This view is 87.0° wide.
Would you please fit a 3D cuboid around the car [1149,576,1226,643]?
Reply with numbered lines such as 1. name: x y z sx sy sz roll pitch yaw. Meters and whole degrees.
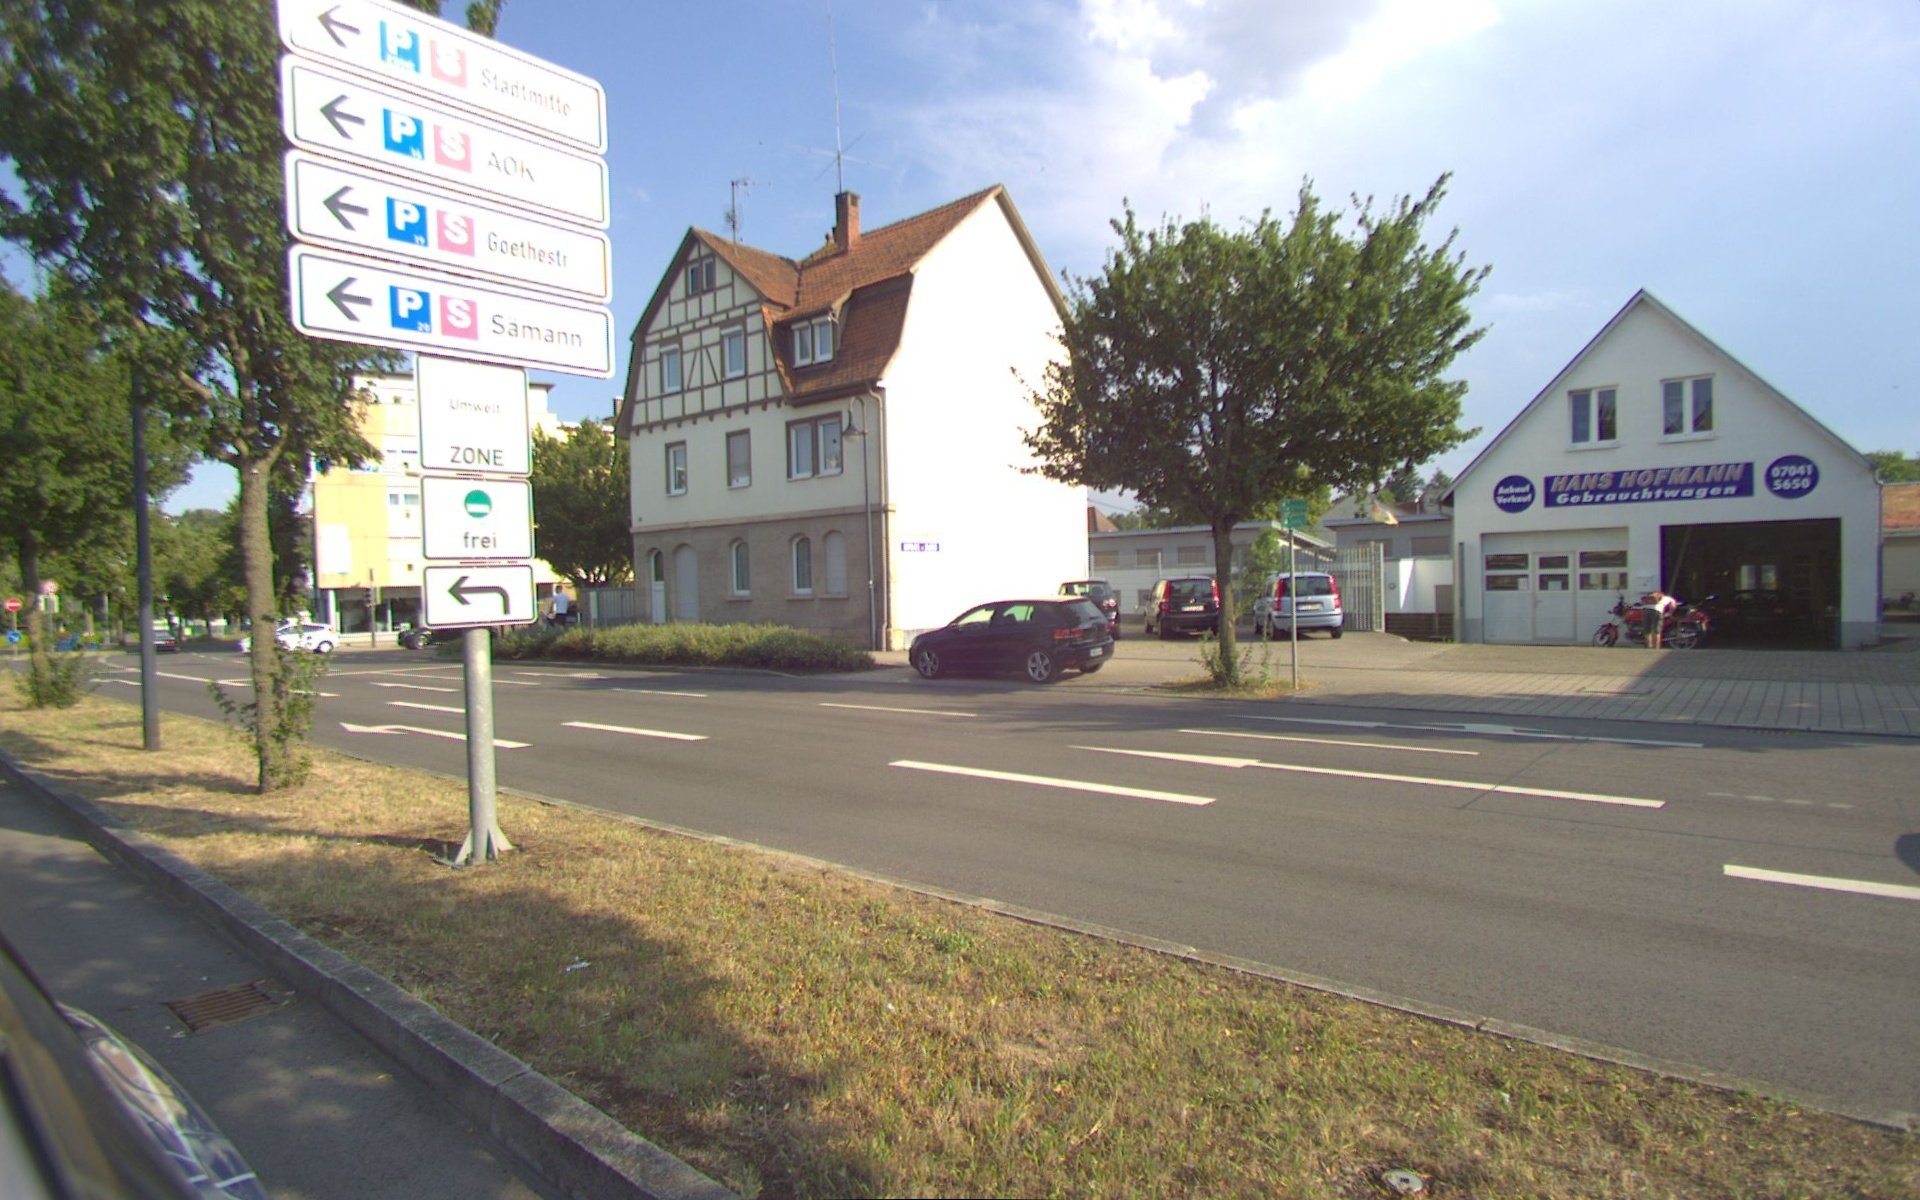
1. car: 5.806 0.218 25.951 1.750 1.563 3.985 -1 0 12

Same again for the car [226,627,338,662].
1. car: -31.498 2.036 47.096 4.070 1.364 1.769 -1 0 -44

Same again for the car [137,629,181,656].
1. car: -44.336 2.331 56.086 1.738 1.364 4.171 -1 0 -37

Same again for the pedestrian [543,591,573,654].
1. pedestrian: -12.835 0.717 32.319 0.588 1.997 0.690 -1 0 42

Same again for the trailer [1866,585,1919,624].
1. trailer: 25.161 0.083 26.077 2.448 0.831 3.153 -1 2 38

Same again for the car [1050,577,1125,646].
1. car: 3.266 0.243 26.350 1.746 1.563 3.993 -2 2 6

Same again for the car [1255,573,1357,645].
1. car: 8.212 0.191 24.319 1.749 1.563 3.986 -1 0 11

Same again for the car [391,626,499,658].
1. car: -26.166 2.104 51.478 4.595 1.364 1.770 -1 0 -42

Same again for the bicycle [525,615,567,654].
1. bicycle: -13.459 1.106 32.893 1.514 1.231 0.672 -1 0 42

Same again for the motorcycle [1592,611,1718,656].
1. motorcycle: 15.115 0.722 22.070 2.211 0.927 0.500 -1 0 44

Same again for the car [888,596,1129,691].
1. car: 0.829 0.749 18.778 4.192 1.454 1.816 -1 3 41

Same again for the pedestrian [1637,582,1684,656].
1. pedestrian: 14.875 0.396 21.485 0.643 1.535 0.675 -1 0 -42

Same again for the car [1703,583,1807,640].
1. car: 21.326 0.270 27.091 1.886 1.395 4.026 -1 0 43
